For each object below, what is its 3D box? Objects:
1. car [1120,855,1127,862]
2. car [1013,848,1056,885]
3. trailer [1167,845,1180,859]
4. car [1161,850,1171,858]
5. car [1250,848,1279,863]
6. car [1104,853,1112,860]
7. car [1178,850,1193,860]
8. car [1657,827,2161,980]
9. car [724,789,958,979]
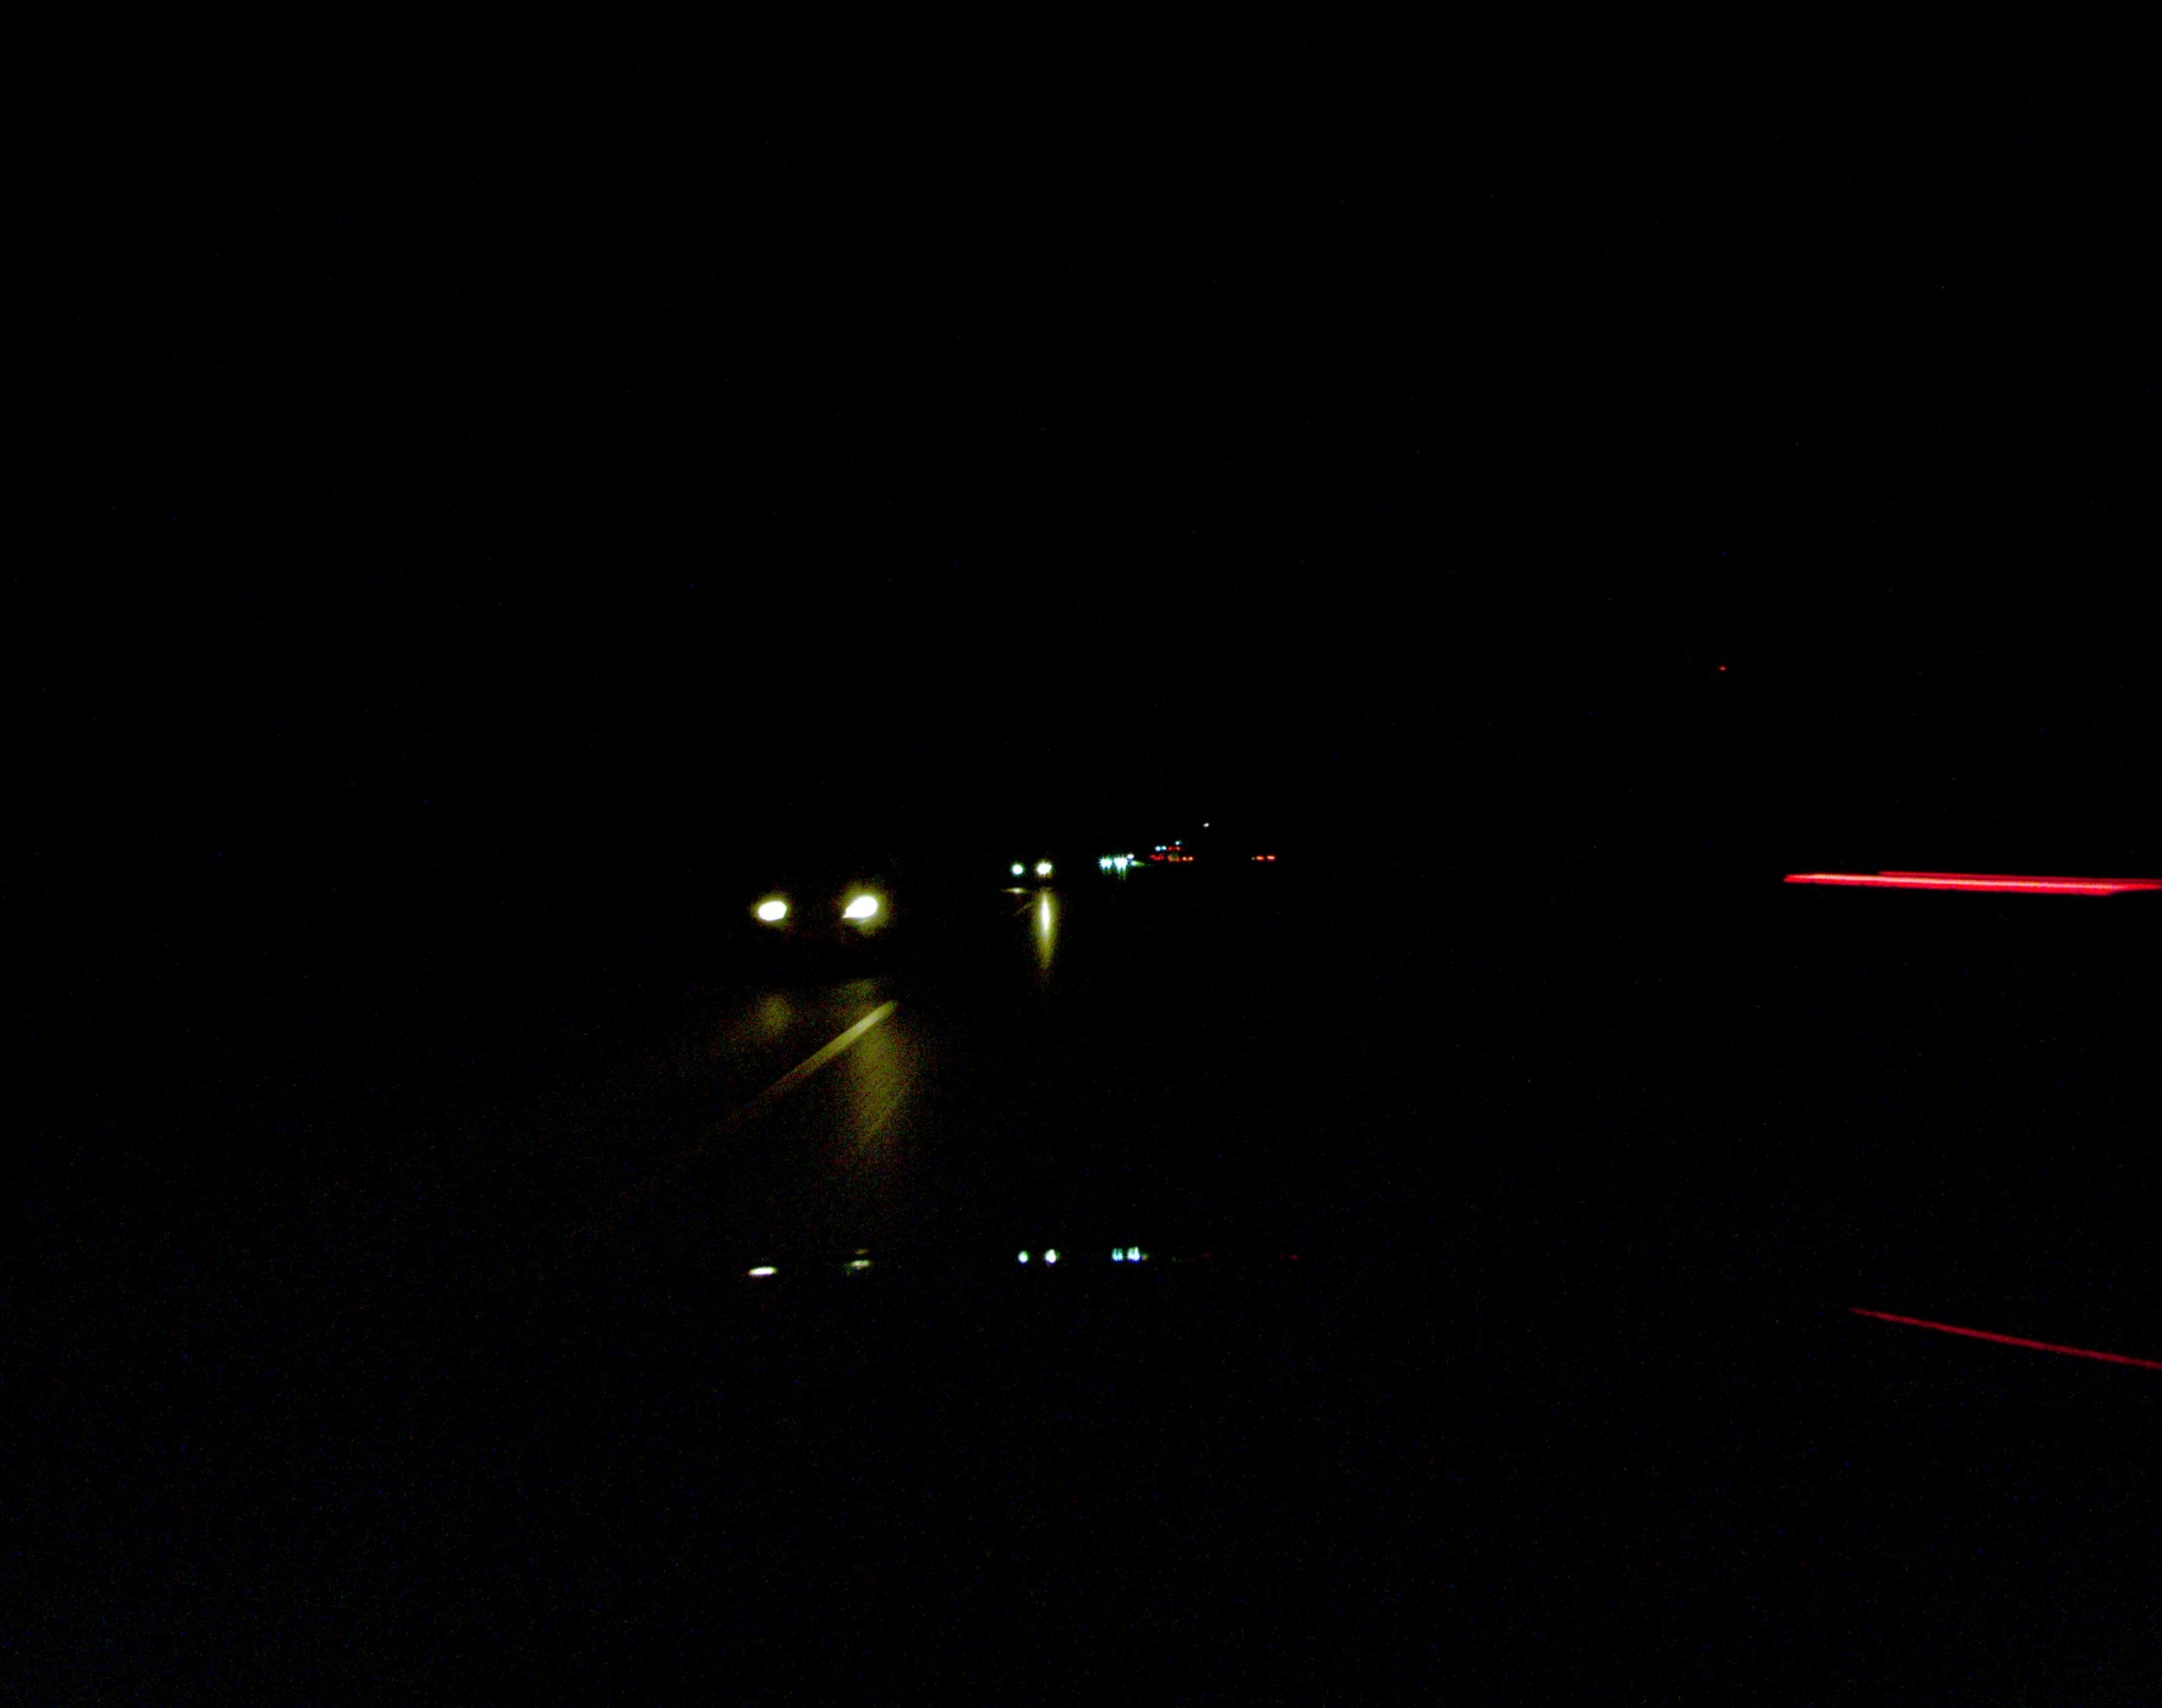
[{"bbox_3d":[12.522,1.258,223.580,1.998,1.734,3.999,-2,2,1],"label":"car"},{"bbox_3d":[-2.697,0.685,45.591,2.121,1.989,5.663,-2,0,1],"label":"car"},{"bbox_3d":[28.300,-0.657,232.396,2.860,3.957,13.888,-2,0,2],"label":"trailer"},{"bbox_3d":[22.533,0.074,201.923,2.249,2.089,5.715,-2,0,3],"label":"car"},{"bbox_3d":[21.425,0.140,88.775,2.250,1.658,4.887,-2,0,1],"label":"car"},{"bbox_3d":[7.299,0.738,204.150,1.998,1.762,3.999,-2,2,1],"label":"car"},{"bbox_3d":[19.408,0.204,141.326,2.250,1.658,4.890,-2,0,1],"label":"car"},{"bbox_3d":[11.559,0.576,11.306,2.250,1.709,4.887,-2,0,1],"label":"car"},{"bbox_3d":[-3.859,0.424,13.599,2.037,2.631,5.725,-2,0,3],"label":"car"}]
